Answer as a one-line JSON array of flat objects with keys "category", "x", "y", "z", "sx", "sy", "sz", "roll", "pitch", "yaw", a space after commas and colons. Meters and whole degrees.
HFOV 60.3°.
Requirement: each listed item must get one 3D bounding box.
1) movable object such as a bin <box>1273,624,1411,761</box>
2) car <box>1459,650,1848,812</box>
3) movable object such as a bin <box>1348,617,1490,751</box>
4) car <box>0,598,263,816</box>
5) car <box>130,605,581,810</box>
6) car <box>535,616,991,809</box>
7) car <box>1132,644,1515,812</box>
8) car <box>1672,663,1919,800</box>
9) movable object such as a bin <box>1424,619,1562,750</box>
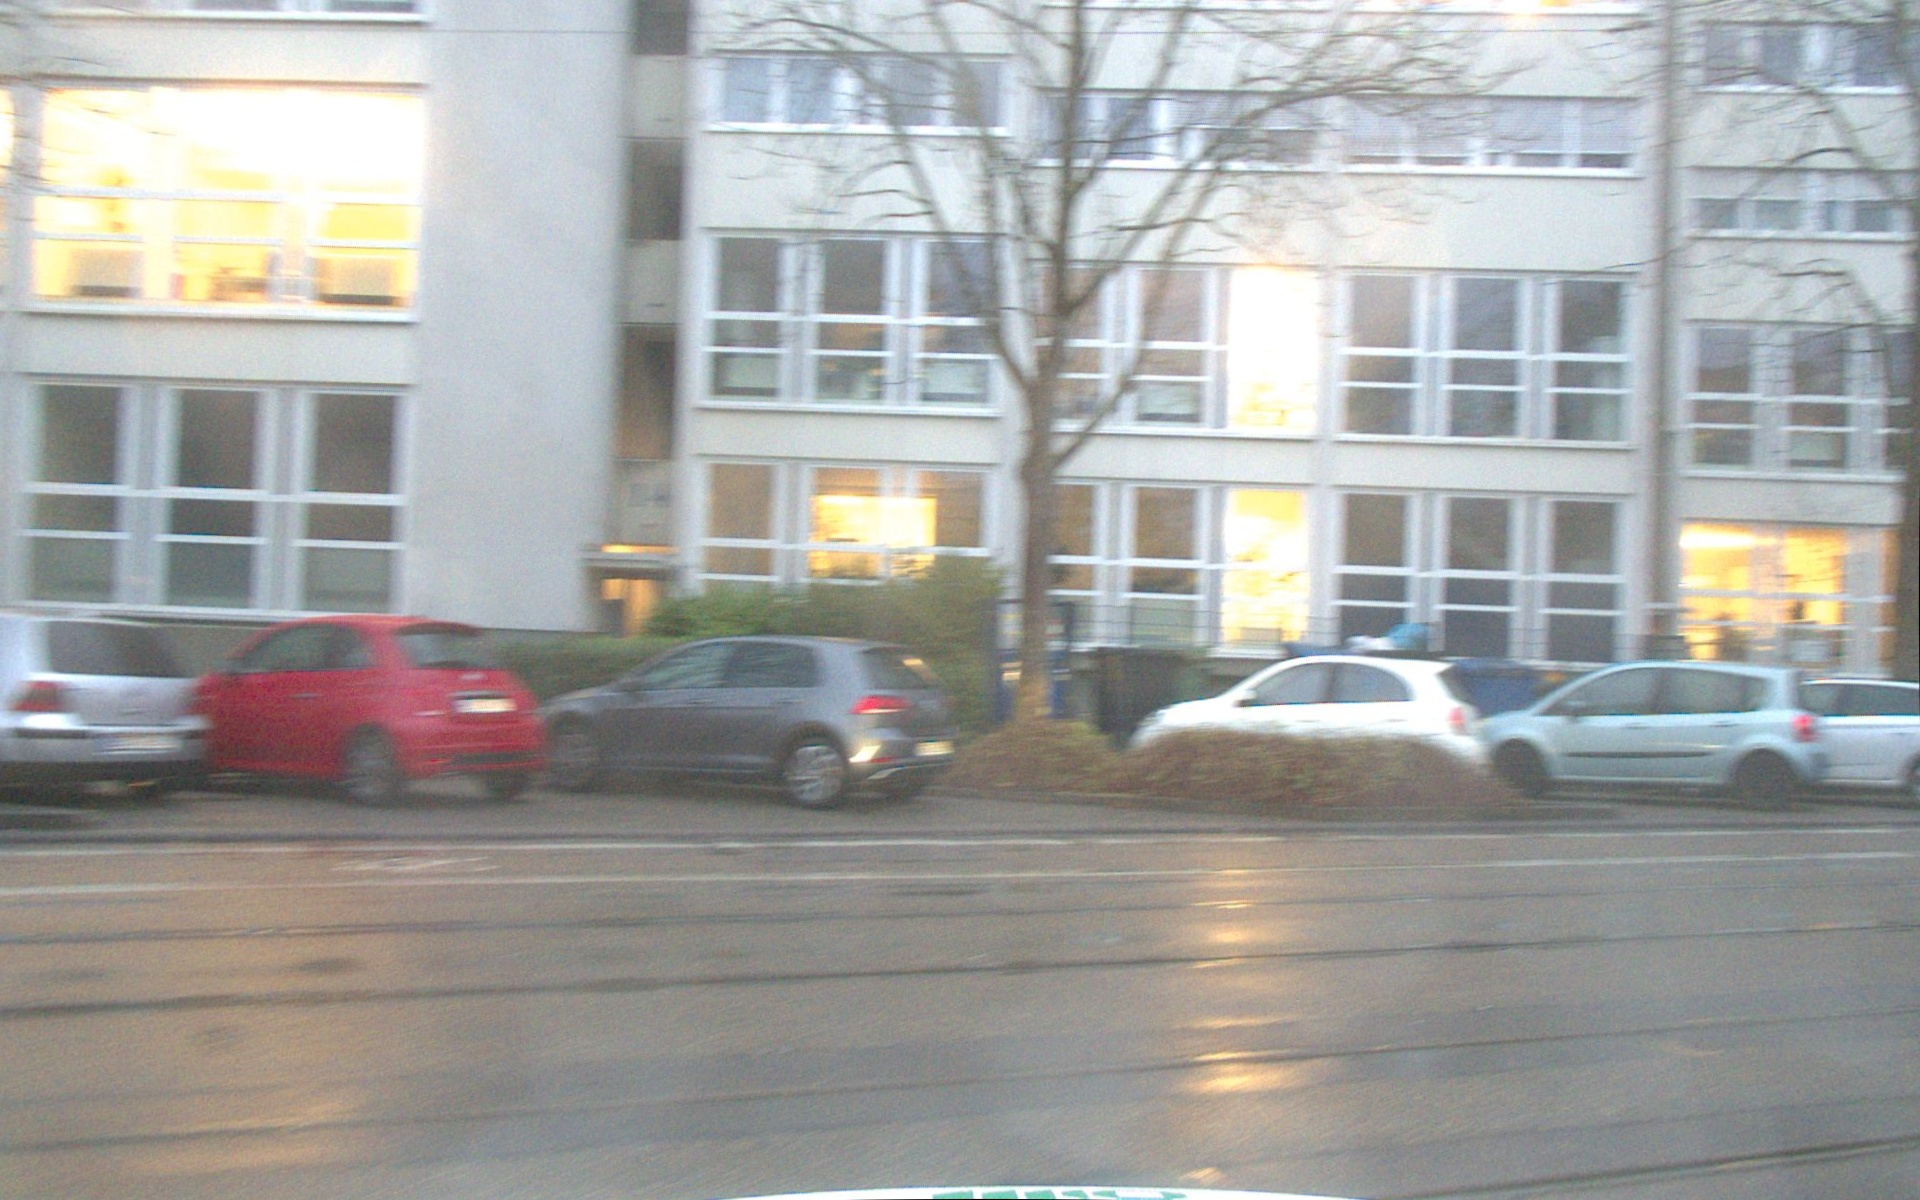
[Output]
[{"category": "movable object such as a bin", "x": 5.469, "y": 1.300, "z": 23.783, "sx": 1.294, "sy": 1.893, "sz": 1.565, "roll": 1, "pitch": -2, "yaw": -21}, {"category": "car", "x": 7.843, "y": 1.417, "z": 18.829, "sx": 3.909, "sy": 1.591, "sz": 1.735, "roll": 1, "pitch": -2, "yaw": 26}, {"category": "movable object such as a bin", "x": 6.726, "y": 1.214, "z": 24.307, "sx": 1.369, "sy": 1.893, "sz": 1.565, "roll": 1, "pitch": -2, "yaw": -21}, {"category": "car", "x": -7.600, "y": 0.735, "z": 12.795, "sx": 3.906, "sy": 1.472, "sz": 1.792, "roll": 1, "pitch": -2, "yaw": 22}, {"category": "car", "x": -5.134, "y": 0.849, "z": 14.068, "sx": 3.372, "sy": 1.519, "sz": 1.728, "roll": 1, "pitch": -2, "yaw": 26}, {"category": "car", "x": -1.790, "y": 0.955, "z": 15.050, "sx": 3.764, "sy": 1.519, "sz": 1.695, "roll": 1, "pitch": -2, "yaw": 24}, {"category": "car", "x": 3.933, "y": 1.317, "z": 17.880, "sx": 3.786, "sy": 1.579, "sz": 1.692, "roll": 1, "pitch": -2, "yaw": 23}, {"category": "car", "x": 10.775, "y": 1.566, "z": 19.748, "sx": 3.919, "sy": 1.469, "sz": 1.730, "roll": 0, "pitch": -4, "yaw": 35}, {"category": "movable object such as a bin", "x": 7.976, "y": 1.245, "z": 24.801, "sx": 1.294, "sy": 1.893, "sz": 1.565, "roll": 1, "pitch": -2, "yaw": -21}]
